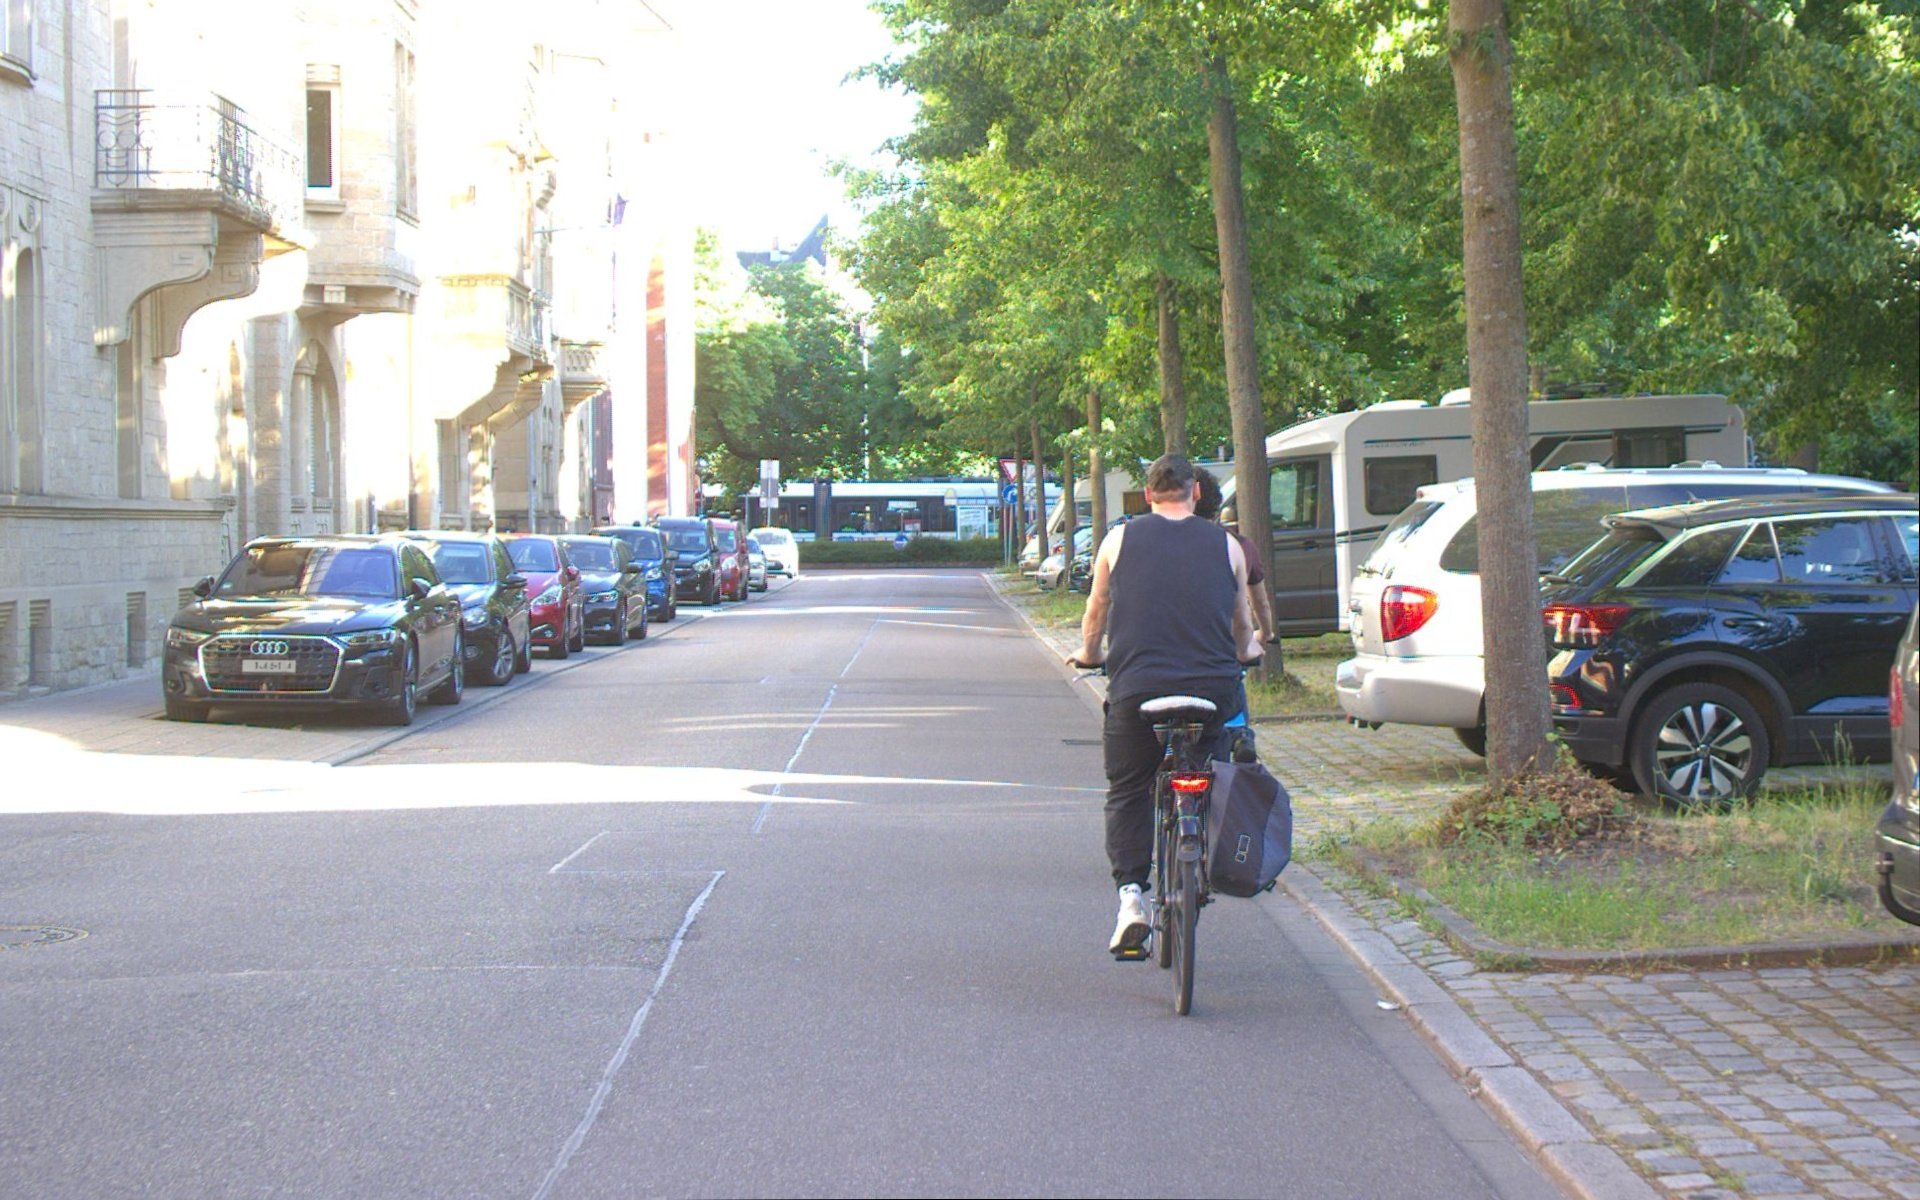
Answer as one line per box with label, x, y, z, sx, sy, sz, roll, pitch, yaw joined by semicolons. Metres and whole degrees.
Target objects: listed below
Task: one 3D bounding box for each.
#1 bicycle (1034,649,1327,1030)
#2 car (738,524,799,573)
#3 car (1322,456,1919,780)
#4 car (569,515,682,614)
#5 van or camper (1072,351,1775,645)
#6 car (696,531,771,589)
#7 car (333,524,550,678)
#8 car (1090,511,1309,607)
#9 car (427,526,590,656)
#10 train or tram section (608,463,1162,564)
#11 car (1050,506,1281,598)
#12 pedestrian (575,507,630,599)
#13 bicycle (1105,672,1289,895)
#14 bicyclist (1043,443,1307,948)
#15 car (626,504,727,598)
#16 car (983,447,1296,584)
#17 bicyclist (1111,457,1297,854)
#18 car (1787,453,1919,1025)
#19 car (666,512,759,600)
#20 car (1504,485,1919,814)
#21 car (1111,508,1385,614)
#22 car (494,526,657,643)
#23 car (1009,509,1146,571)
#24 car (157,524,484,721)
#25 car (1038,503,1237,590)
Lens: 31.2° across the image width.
bicycle;0.666;0.714;11.023;0.737;1.050;1.956;2;0;-1
car;-5.826;-1.589;105.141;1.583;1.371;4.131;2;2;0
car;4.552;0.052;20.257;4.619;1.703;1.833;-2;1;1
car;-5.486;-0.600;56.650;1.595;1.484;2.737;3;2;-2
van or camper;4.851;-1.087;36.996;7.147;2.638;2.464;-3;1;2
car;-5.751;-1.029;87.626;1.583;1.339;4.131;2;2;0
car;-5.140;-0.011;34.516;1.696;1.448;4.028;0;1;-2
car;4.198;-0.711;60.680;3.773;1.594;1.691;-1;-1;2
car;-5.419;-0.147;41.592;1.628;1.448;3.838;1;2;-3
train or tram section;-3.018;-3.633;147.612;23.799;3.696;4.287;1;1;-22
car;3.736;-0.867;63.029;4.139;1.594;1.702;-1;-1;2
pedestrian;-6.872;-0.904;66.104;0.938;1.736;0.735;1;0;0
bicycle;0.986;0.752;14.639;0.633;0.796;1.833;-1;1;0
bicyclist;0.677;0.293;11.089;0.730;1.542;0.885;2;0;-1
car;-5.715;-1.021;69.709;1.640;1.777;4.354;2;2;0
car;4.223;-2.005;81.791;7.146;2.968;2.465;-2;1;-3
bicyclist;1.030;0.221;14.704;0.689;1.621;0.998;2;1;1
car;4.946;0.260;9.948;4.538;1.628;1.813;-4;1;-6
car;-5.498;-1.011;76.697;1.689;1.819;4.273;2;2;0
car;4.994;0.163;17.651;4.068;1.471;1.694;-3;2;1
car;4.531;-0.610;54.541;4.223;1.594;1.691;-1;-1;2
car;-5.229;-0.251;47.257;1.675;1.425;4.551;2;2;0
car;3.550;-1.817;104.125;3.986;1.797;1.834;1;1;-2
car;-5.179;0.130;28.474;1.811;1.422;4.898;2;1;-1
car;3.830;-1.161;74.514;4.082;1.644;1.641;-3;1;-2
